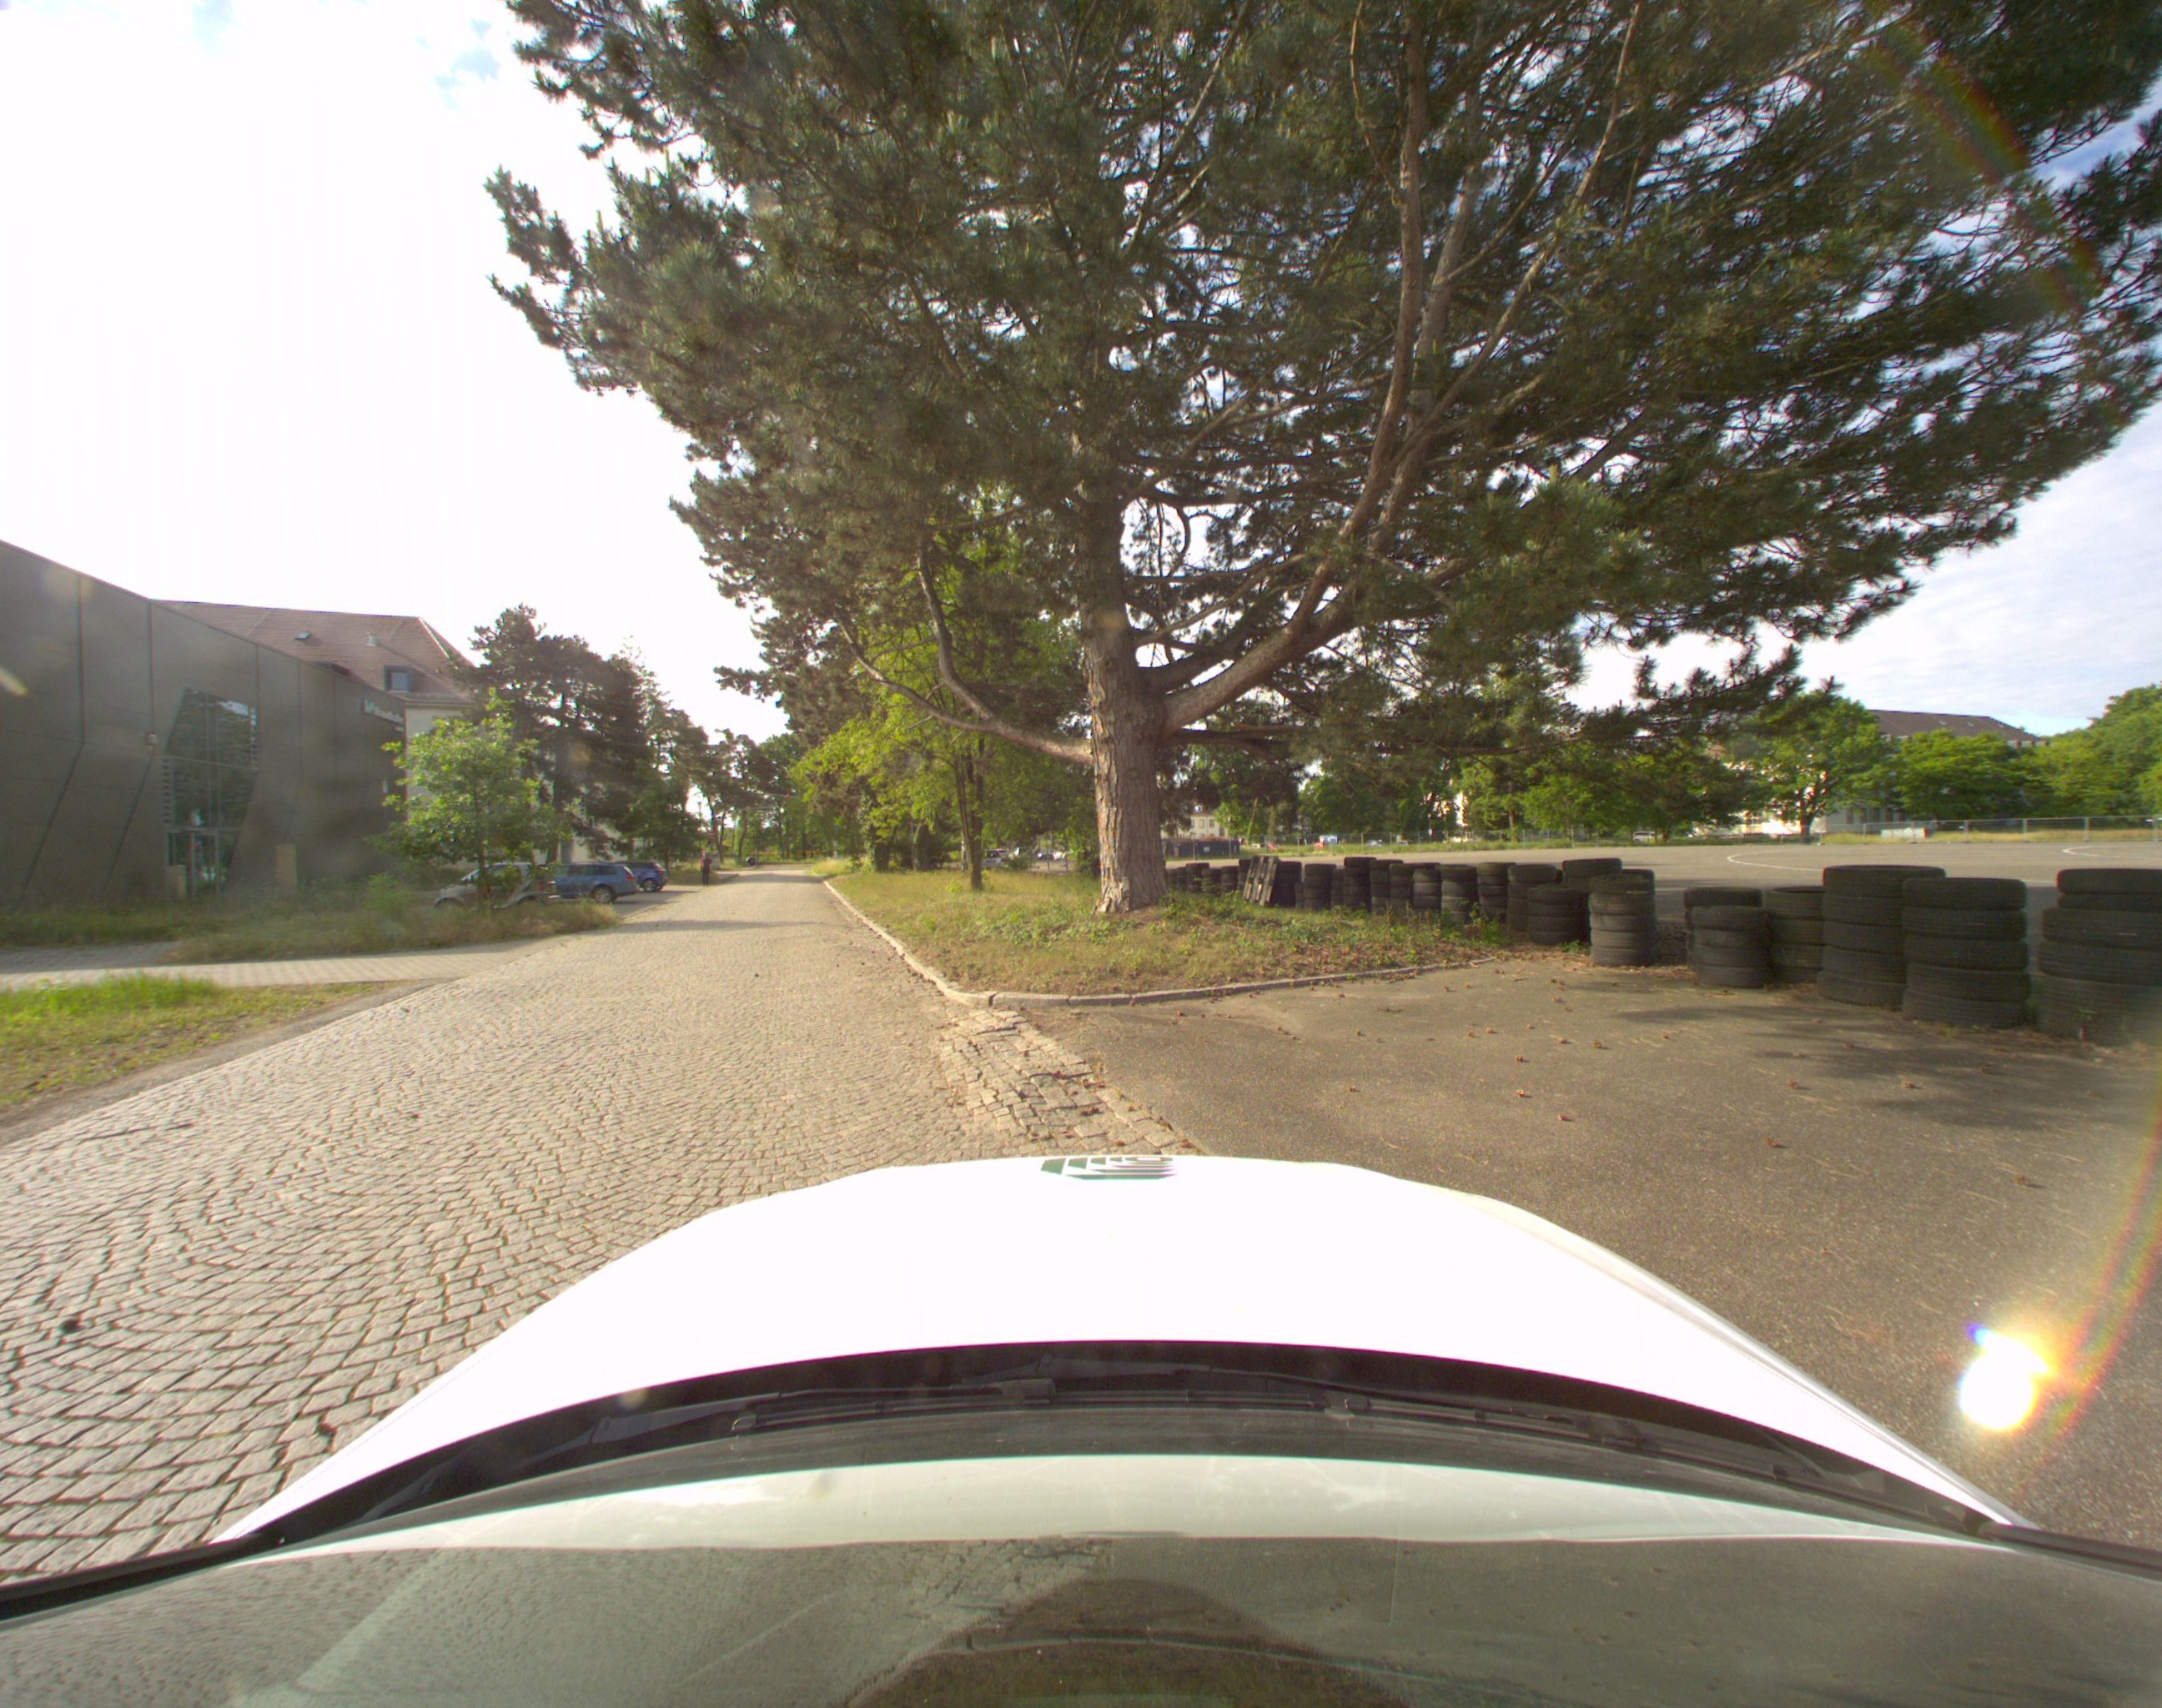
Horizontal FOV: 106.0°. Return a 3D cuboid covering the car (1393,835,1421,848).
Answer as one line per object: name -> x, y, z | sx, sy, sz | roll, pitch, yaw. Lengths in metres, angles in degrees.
car -> 48.430, -1.849, 120.984 | 1.993, 1.750, 3.987 | -2, 0, -10

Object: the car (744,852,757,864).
car -> -55.946, 0.652, 137.872 | 1.703, 2.013, 3.974 | -2, 0, -19

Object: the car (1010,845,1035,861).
car -> -6.452, -0.129, 88.929 | 1.826, 1.618, 3.976 | -2, 1, -17

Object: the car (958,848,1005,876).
car -> -6.038, 0.454, 49.165 | 1.893, 1.541, 3.972 | -2, 0, -21

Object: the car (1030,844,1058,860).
car -> -4.162, -0.197, 90.074 | 2.000, 1.618, 3.974 | -2, 1, -19

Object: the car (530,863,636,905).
car -> -17.959, 1.066, 29.498 | 3.098, 1.457, 1.480 | 1, -1, -25

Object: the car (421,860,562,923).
car -> -16.138, 0.997, 22.420 | 2.766, 1.549, 1.417 | -2, 0, -16

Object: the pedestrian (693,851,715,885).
pedestrian -> -20.953, 0.747, 45.249 | 0.963, 1.844, 0.945 | -2, 0, -34

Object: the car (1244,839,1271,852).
car -> 24.382, -1.155, 112.428 | 1.997, 1.750, 3.980 | -2, 0, -15

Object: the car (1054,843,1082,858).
car -> -1.502, -0.351, 91.375 | 2.000, 1.618, 3.974 | -2, 1, -19

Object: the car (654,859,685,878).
car -> -37.166, 1.305, 73.659 | 2.000, 1.618, 3.974 | -2, 1, -19

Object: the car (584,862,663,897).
car -> -21.355, 1.174, 38.125 | 3.100, 1.450, 1.479 | -2, 0, -26

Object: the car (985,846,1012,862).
car -> -8.907, -0.039, 87.755 | 2.000, 1.618, 3.974 | -2, 1, -19
